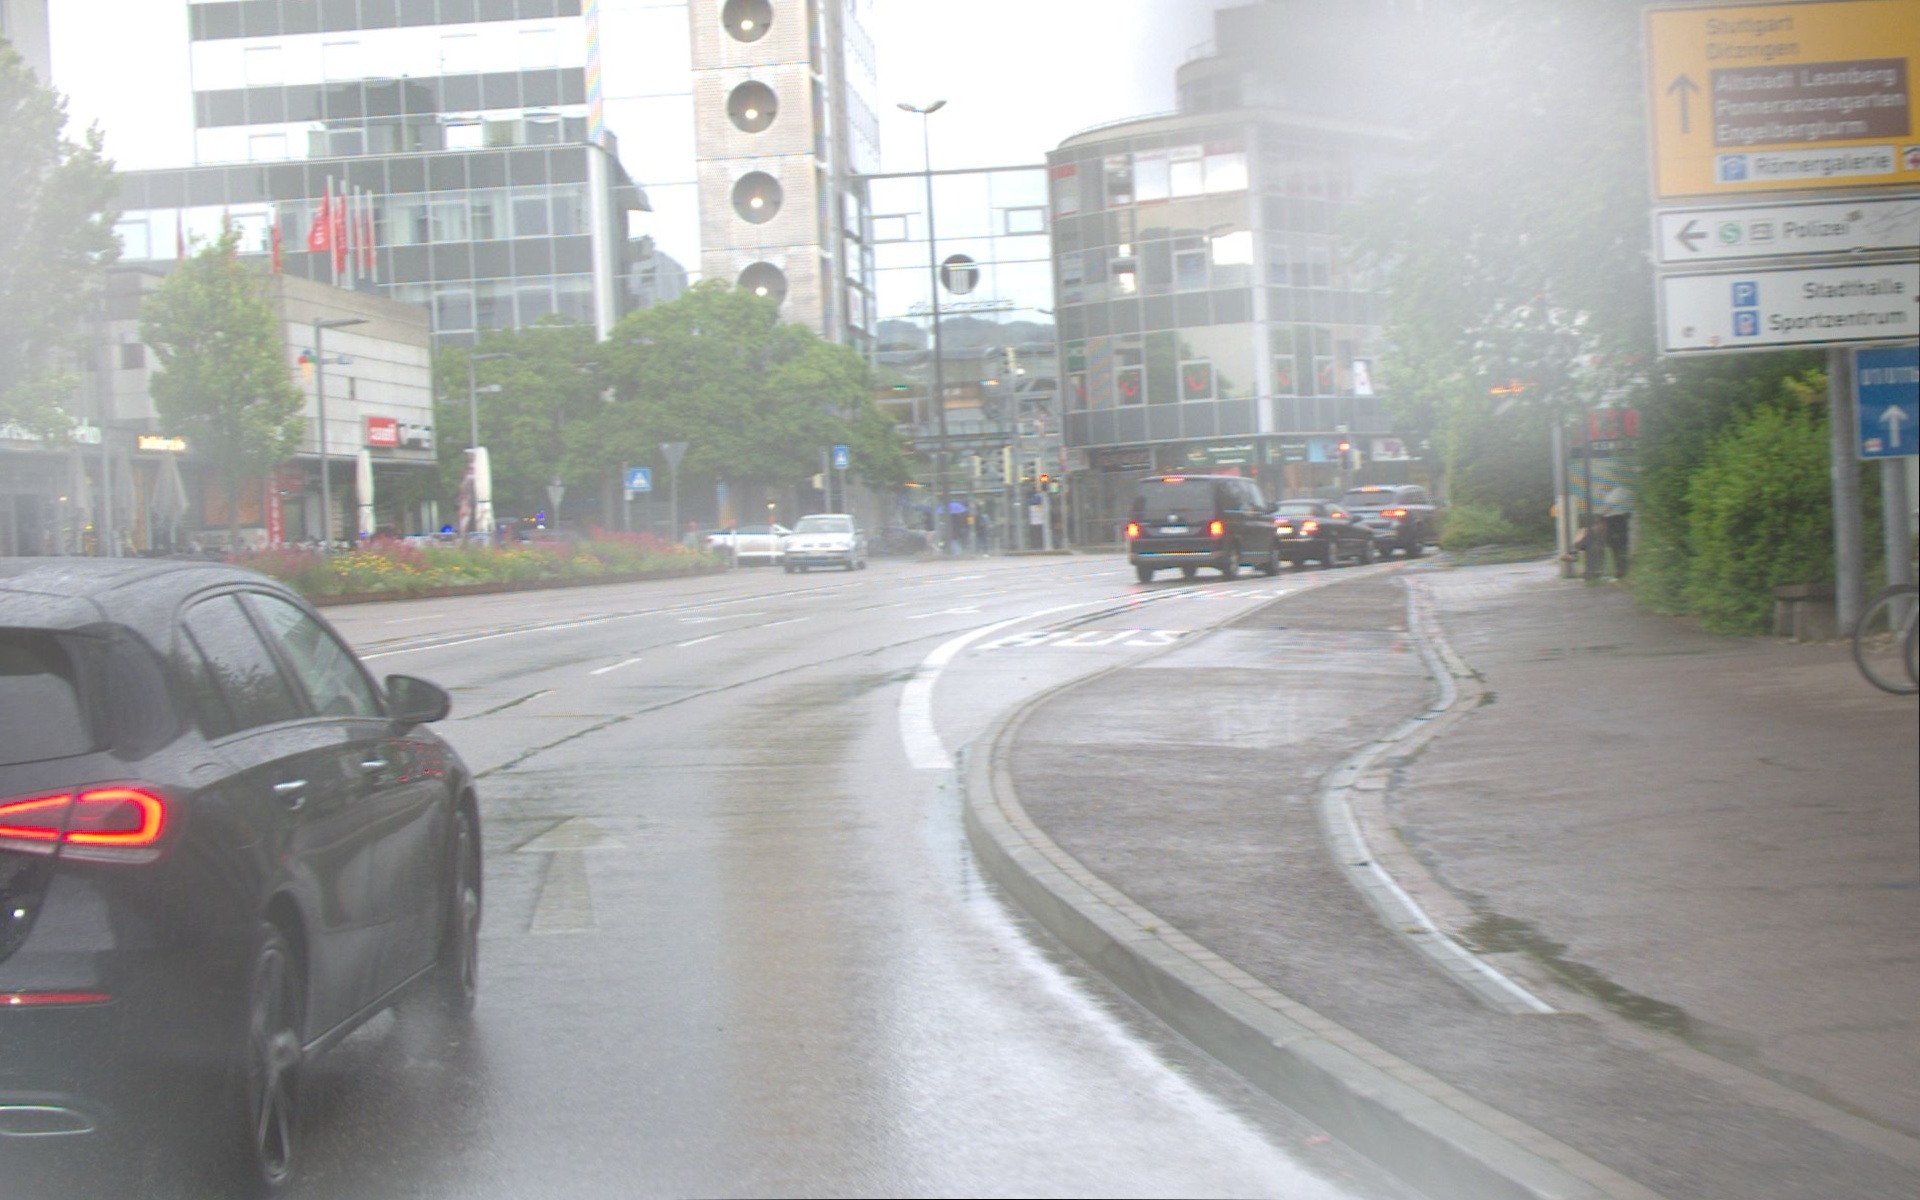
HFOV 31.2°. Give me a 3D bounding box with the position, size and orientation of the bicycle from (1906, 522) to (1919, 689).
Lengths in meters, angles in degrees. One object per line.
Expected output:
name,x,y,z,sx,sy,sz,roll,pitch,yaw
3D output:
bicycle,6.216,0.015,18.773,1.849,1.039,0.647,-5,0,2

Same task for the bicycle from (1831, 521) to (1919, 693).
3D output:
bicycle,6.151,-0.023,20.235,1.849,0.948,0.536,-5,2,5

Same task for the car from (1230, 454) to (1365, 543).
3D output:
car,7.023,-2.122,71.165,1.888,1.666,3.997,-2,2,18

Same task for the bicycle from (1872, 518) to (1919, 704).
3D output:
bicycle,6.229,-0.017,19.532,1.849,1.030,0.629,-5,0,2

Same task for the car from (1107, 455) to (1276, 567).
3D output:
car,4.360,-1.685,64.095,2.045,1.889,4.135,-2,2,19

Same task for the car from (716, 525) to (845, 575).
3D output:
car,-5.754,-1.617,110.474,3.987,1.379,1.728,-3,2,1

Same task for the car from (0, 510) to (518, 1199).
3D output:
car,-2.245,0.573,8.784,1.663,1.476,4.095,-2,2,0

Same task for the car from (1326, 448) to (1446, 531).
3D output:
car,9.595,-2.503,77.216,1.912,1.719,3.806,-2,2,18

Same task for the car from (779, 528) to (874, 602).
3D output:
car,-3.273,-0.884,84.856,1.692,1.626,3.511,-2,2,8
